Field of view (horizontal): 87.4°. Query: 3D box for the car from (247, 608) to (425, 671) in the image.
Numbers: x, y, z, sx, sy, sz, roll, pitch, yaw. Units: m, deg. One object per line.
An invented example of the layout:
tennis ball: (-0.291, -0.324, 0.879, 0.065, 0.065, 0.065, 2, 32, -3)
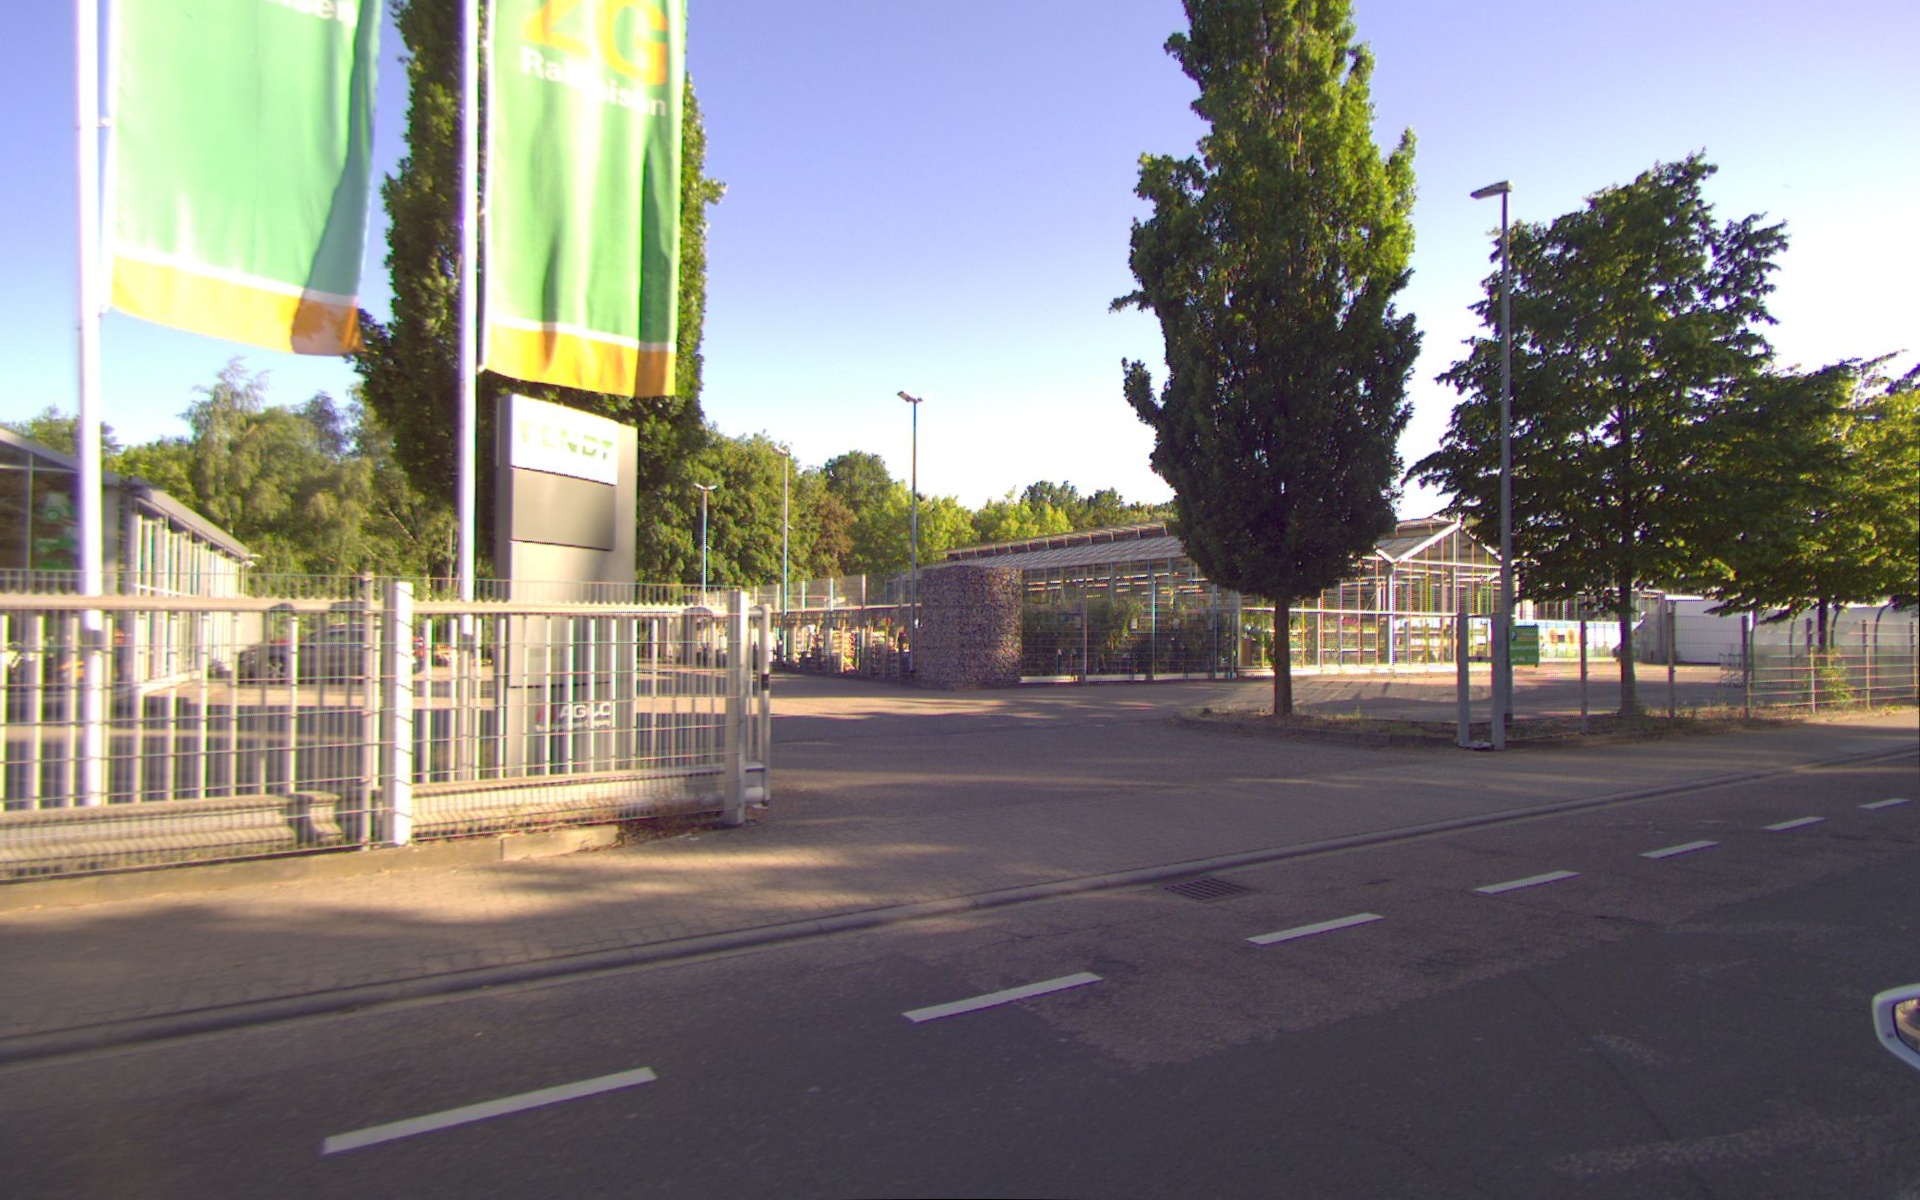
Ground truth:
car: (-17.052, 1.089, 27.600, 3.957, 1.529, 1.869, 4, -3, -32)

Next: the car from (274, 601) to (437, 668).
car: (-17.969, 1.044, 29.983, 3.957, 1.762, 1.869, 4, -3, -32)
